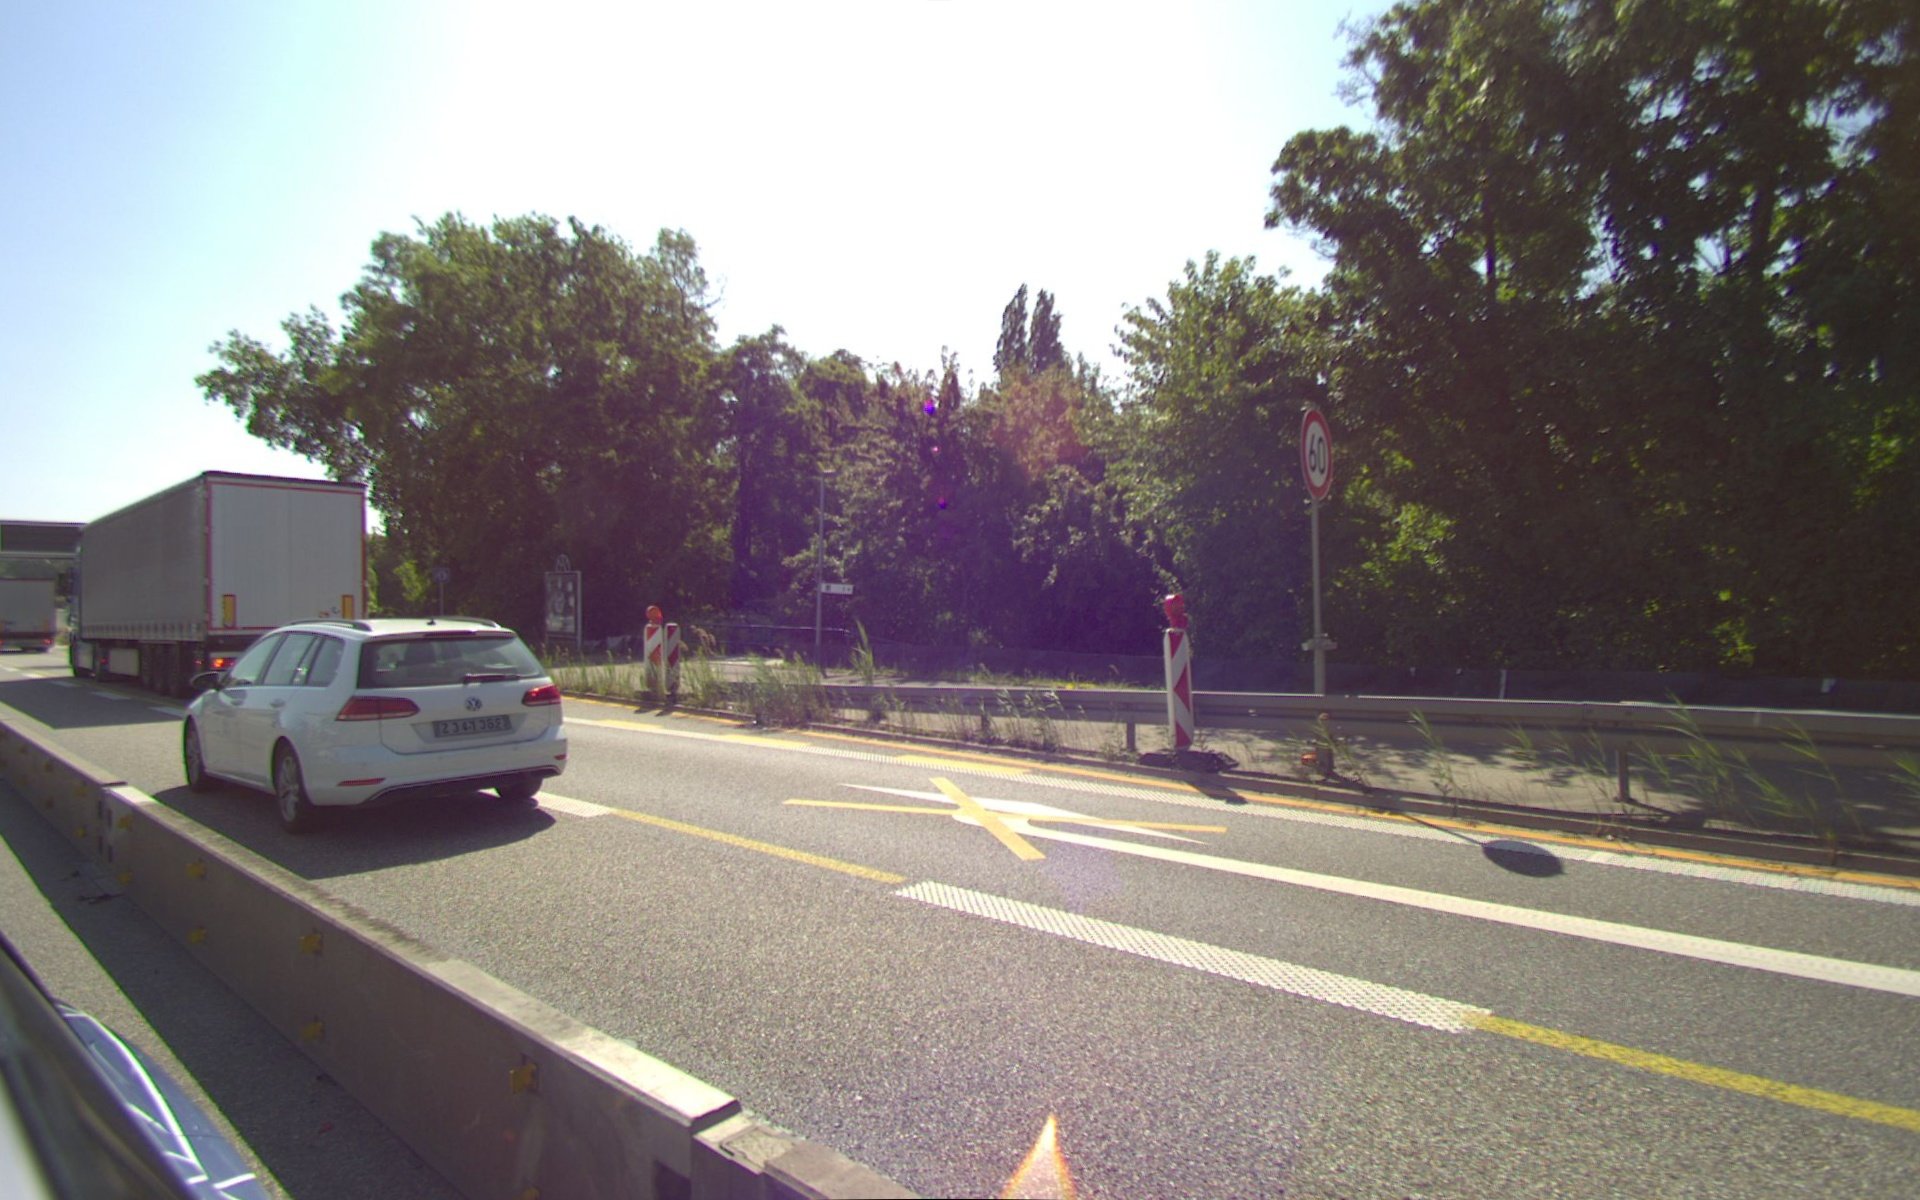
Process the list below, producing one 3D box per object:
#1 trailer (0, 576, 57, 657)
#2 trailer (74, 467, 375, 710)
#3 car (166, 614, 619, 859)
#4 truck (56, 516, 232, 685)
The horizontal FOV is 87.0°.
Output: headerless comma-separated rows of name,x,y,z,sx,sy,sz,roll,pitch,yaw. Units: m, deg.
trailer,-53.497,0.939,57.063,14.067,4.159,2.591,-1,-1,43
trailer,-16.936,-0.031,22.584,13.465,4.074,2.773,-2,-2,42
car,-4.636,0.853,8.002,4.150,1.428,1.796,-1,-1,40
truck,-22.054,0.093,27.237,5.984,4.021,2.785,-2,-2,42
